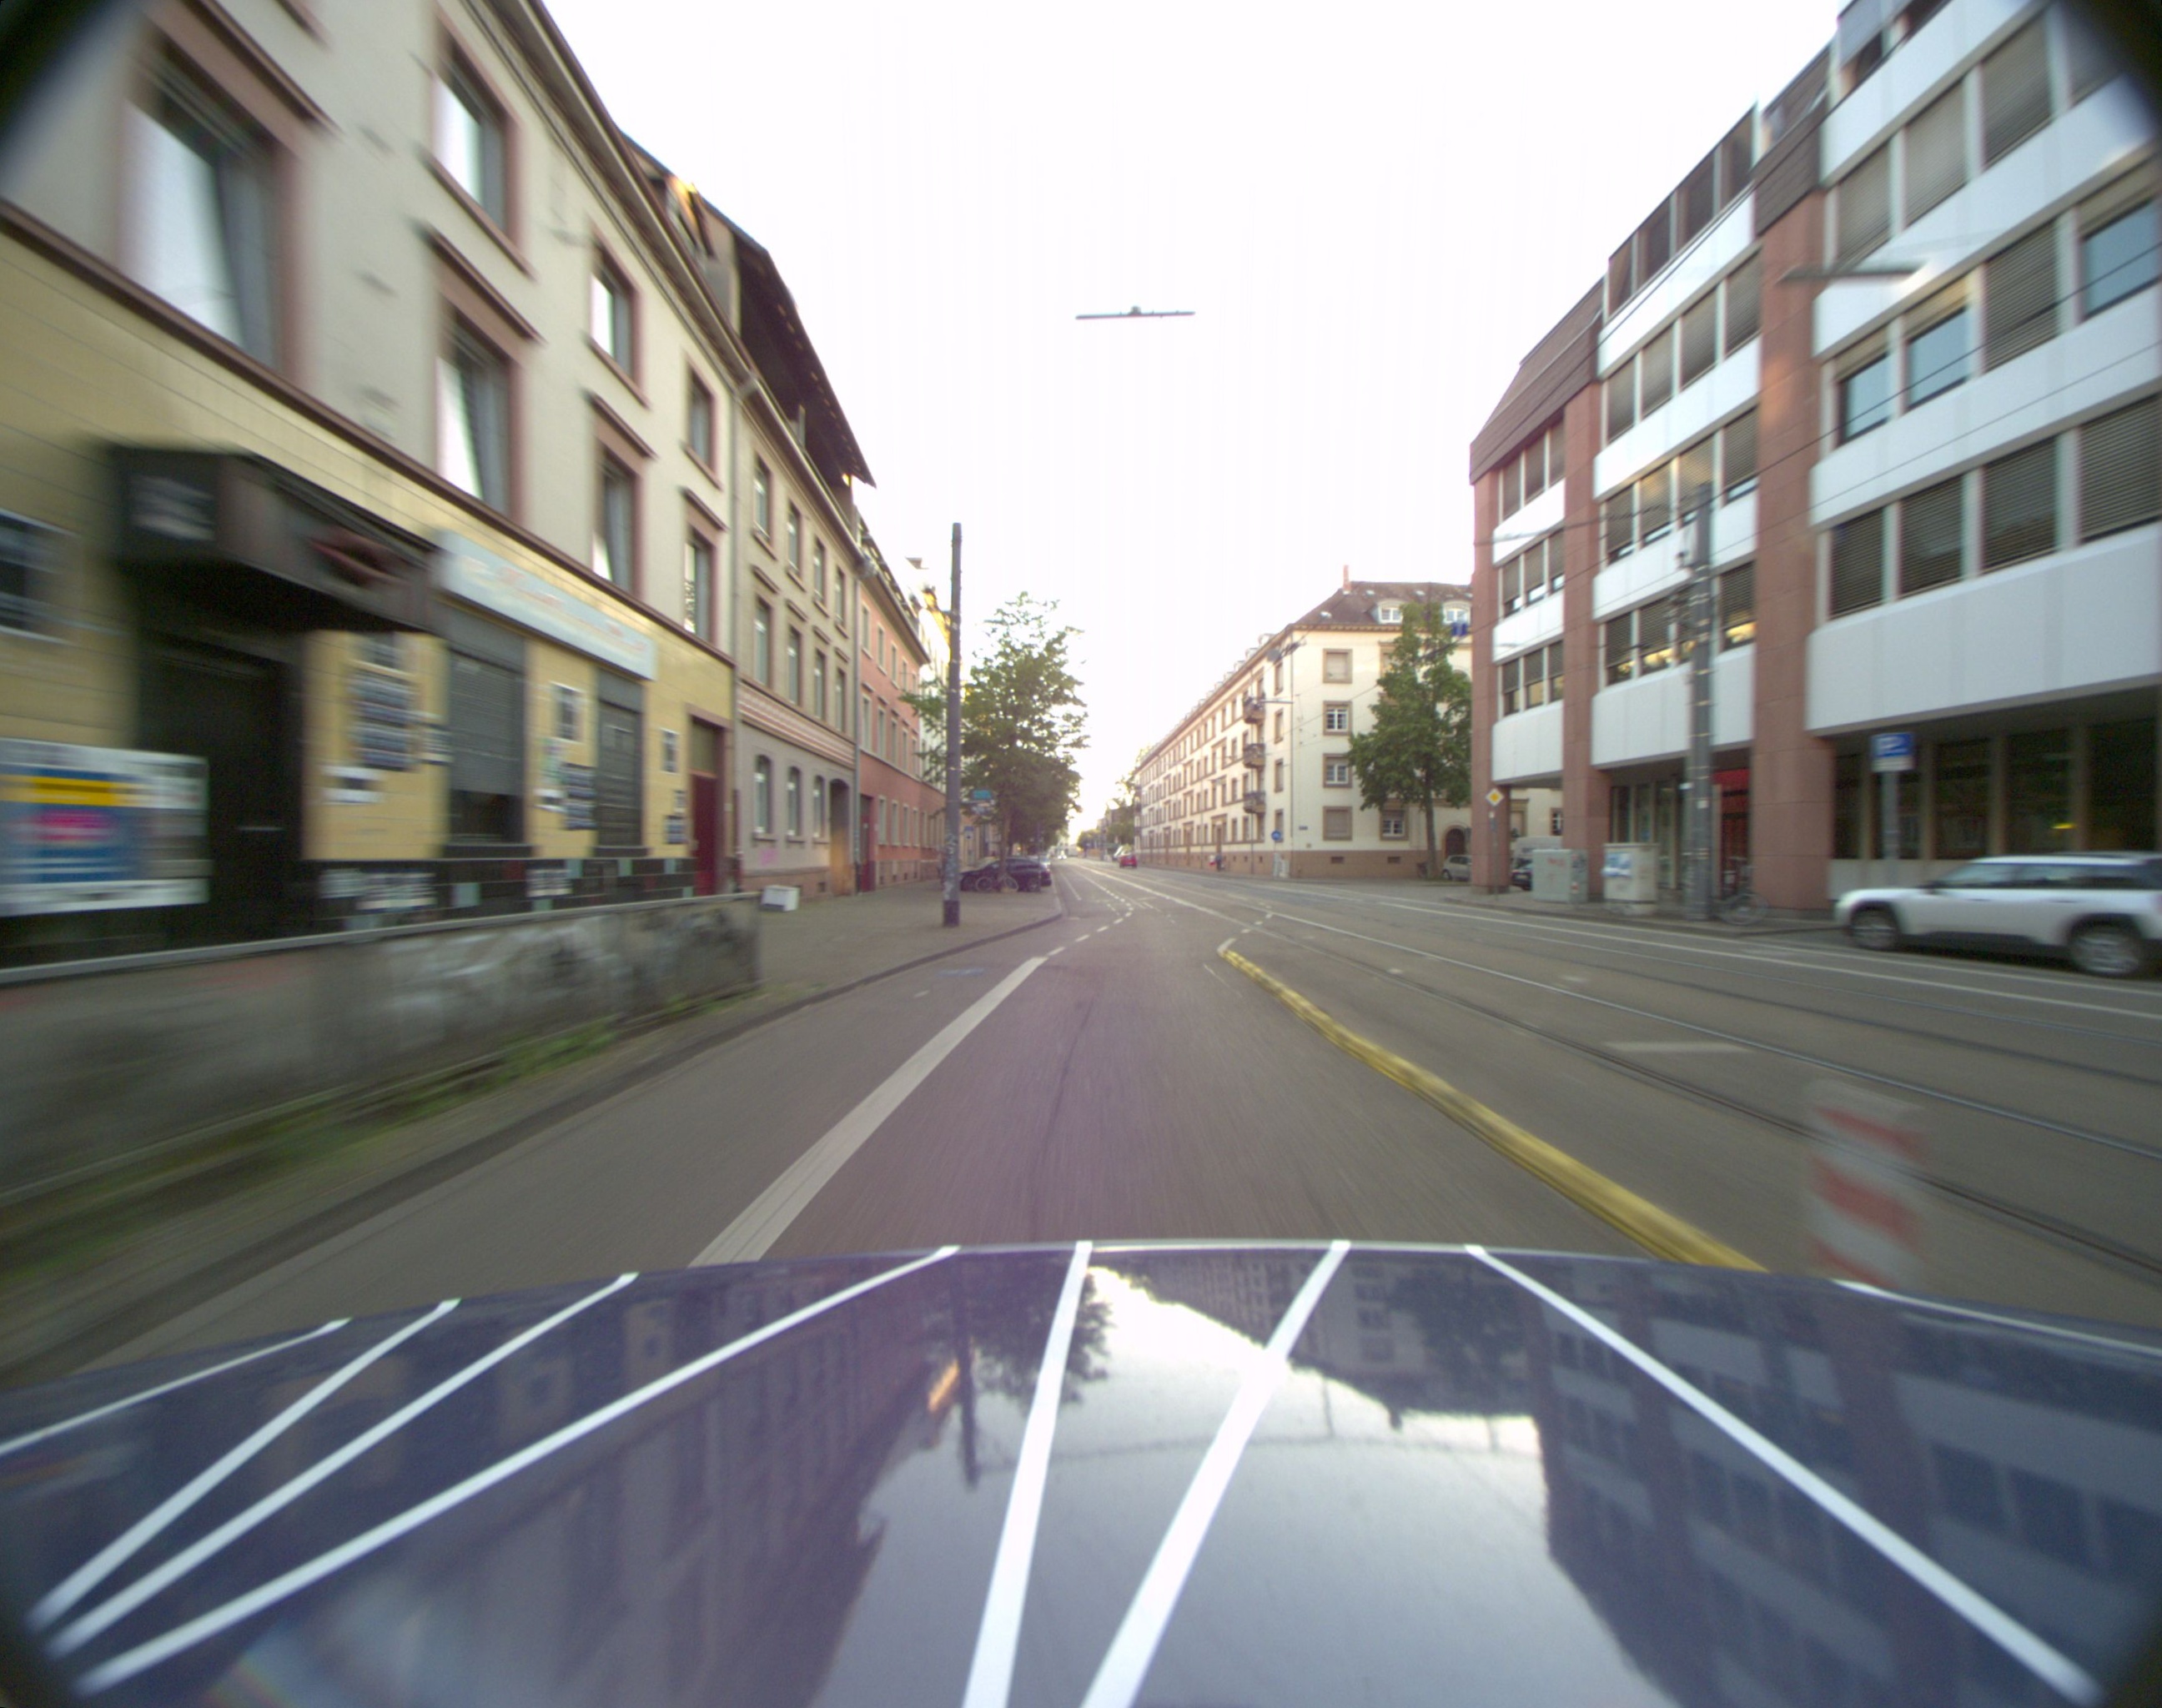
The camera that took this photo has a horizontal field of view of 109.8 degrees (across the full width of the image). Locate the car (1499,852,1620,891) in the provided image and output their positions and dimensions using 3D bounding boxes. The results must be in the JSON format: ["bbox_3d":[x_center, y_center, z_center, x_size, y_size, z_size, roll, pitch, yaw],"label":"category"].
[{"bbox_3d":[20.041,0.716,31.906,4.000,1.496,1.921,0,2,-10],"label":"car"}]

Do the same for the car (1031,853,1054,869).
[{"bbox_3d":[-3.522,0.585,69.980,1.785,1.373,4.690,2,0,0],"label":"car"}]

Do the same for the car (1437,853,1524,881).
[{"bbox_3d":[21.494,0.667,41.109,2.000,1.414,4.175,0,0,-10],"label":"car"}]

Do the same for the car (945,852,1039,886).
[{"bbox_3d":[-4.236,0.704,36.018,4.006,1.483,1.826,1,2,-27],"label":"car"}]

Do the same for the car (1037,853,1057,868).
[{"bbox_3d":[-3.414,0.656,77.040,1.999,1.480,5.034,1,0,-2],"label":"car"}]

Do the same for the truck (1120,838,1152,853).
[{"bbox_3d":[12.757,-1.975,175.719,7.079,3.408,2.565,-1,0,-6],"label":"truck"}]

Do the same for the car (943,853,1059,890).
[{"bbox_3d":[-3.430,0.759,32.619,4.627,1.448,1.707,2,0,-27],"label":"car"}]

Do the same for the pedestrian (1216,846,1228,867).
[{"bbox_3d":[11.708,0.213,63.107,0.798,1.692,0.981,0,1,-5],"label":"pedestrian"}]

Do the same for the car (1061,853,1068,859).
[{"bbox_3d":[-4.663,0.516,212.982,1.999,1.674,3.999,-1,0,-2],"label":"car"}]

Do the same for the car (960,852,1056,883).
[{"bbox_3d":[-3.765,0.670,39.054,4.465,1.507,2.059,1,0,-25],"label":"car"}]

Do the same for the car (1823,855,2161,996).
[{"bbox_3d":[13.149,0.821,10.444,1.721,1.546,4.202,-2,0,-2],"label":"car"}]

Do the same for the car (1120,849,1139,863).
[{"bbox_3d":[5.378,0.222,84.109,1.564,1.549,3.753,1,0,-5],"label":"car"}]

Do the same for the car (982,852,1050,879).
[{"bbox_3d":[-3.776,0.643,44.161,3.572,1.507,1.739,1,0,-27],"label":"car"}]

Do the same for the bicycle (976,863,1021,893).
[{"bbox_3d":[-3.266,0.955,30.316,1.695,1.095,0.927,2,0,-3],"label":"bicycle"}]

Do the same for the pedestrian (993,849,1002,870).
[{"bbox_3d":[-7.229,0.453,65.966,0.682,1.805,0.600,0,1,-2],"label":"pedestrian"}]

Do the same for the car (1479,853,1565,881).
[{"bbox_3d":[24.228,0.674,41.928,1.796,1.414,4.175,0,0,-10],"label":"car"}]

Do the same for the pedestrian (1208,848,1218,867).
[{"bbox_3d":[10.984,0.263,63.328,0.592,1.600,0.811,0,1,-5],"label":"pedestrian"}]

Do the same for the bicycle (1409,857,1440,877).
[{"bbox_3d":[20.565,0.762,45.493,1.686,1.206,0.603,0,1,-20],"label":"bicycle"}]

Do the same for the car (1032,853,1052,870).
[{"bbox_3d":[-3.281,0.625,64.323,1.623,1.373,3.775,2,0,-2],"label":"car"}]

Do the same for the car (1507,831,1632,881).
[{"bbox_3d":[26.707,0.102,41.900,2.098,2.574,6.125,0,0,-11],"label":"car"}]

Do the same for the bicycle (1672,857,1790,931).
[{"bbox_3d":[13.014,0.751,15.306,0.610,1.369,2.259,0,0,5],"label":"bicycle"}]
